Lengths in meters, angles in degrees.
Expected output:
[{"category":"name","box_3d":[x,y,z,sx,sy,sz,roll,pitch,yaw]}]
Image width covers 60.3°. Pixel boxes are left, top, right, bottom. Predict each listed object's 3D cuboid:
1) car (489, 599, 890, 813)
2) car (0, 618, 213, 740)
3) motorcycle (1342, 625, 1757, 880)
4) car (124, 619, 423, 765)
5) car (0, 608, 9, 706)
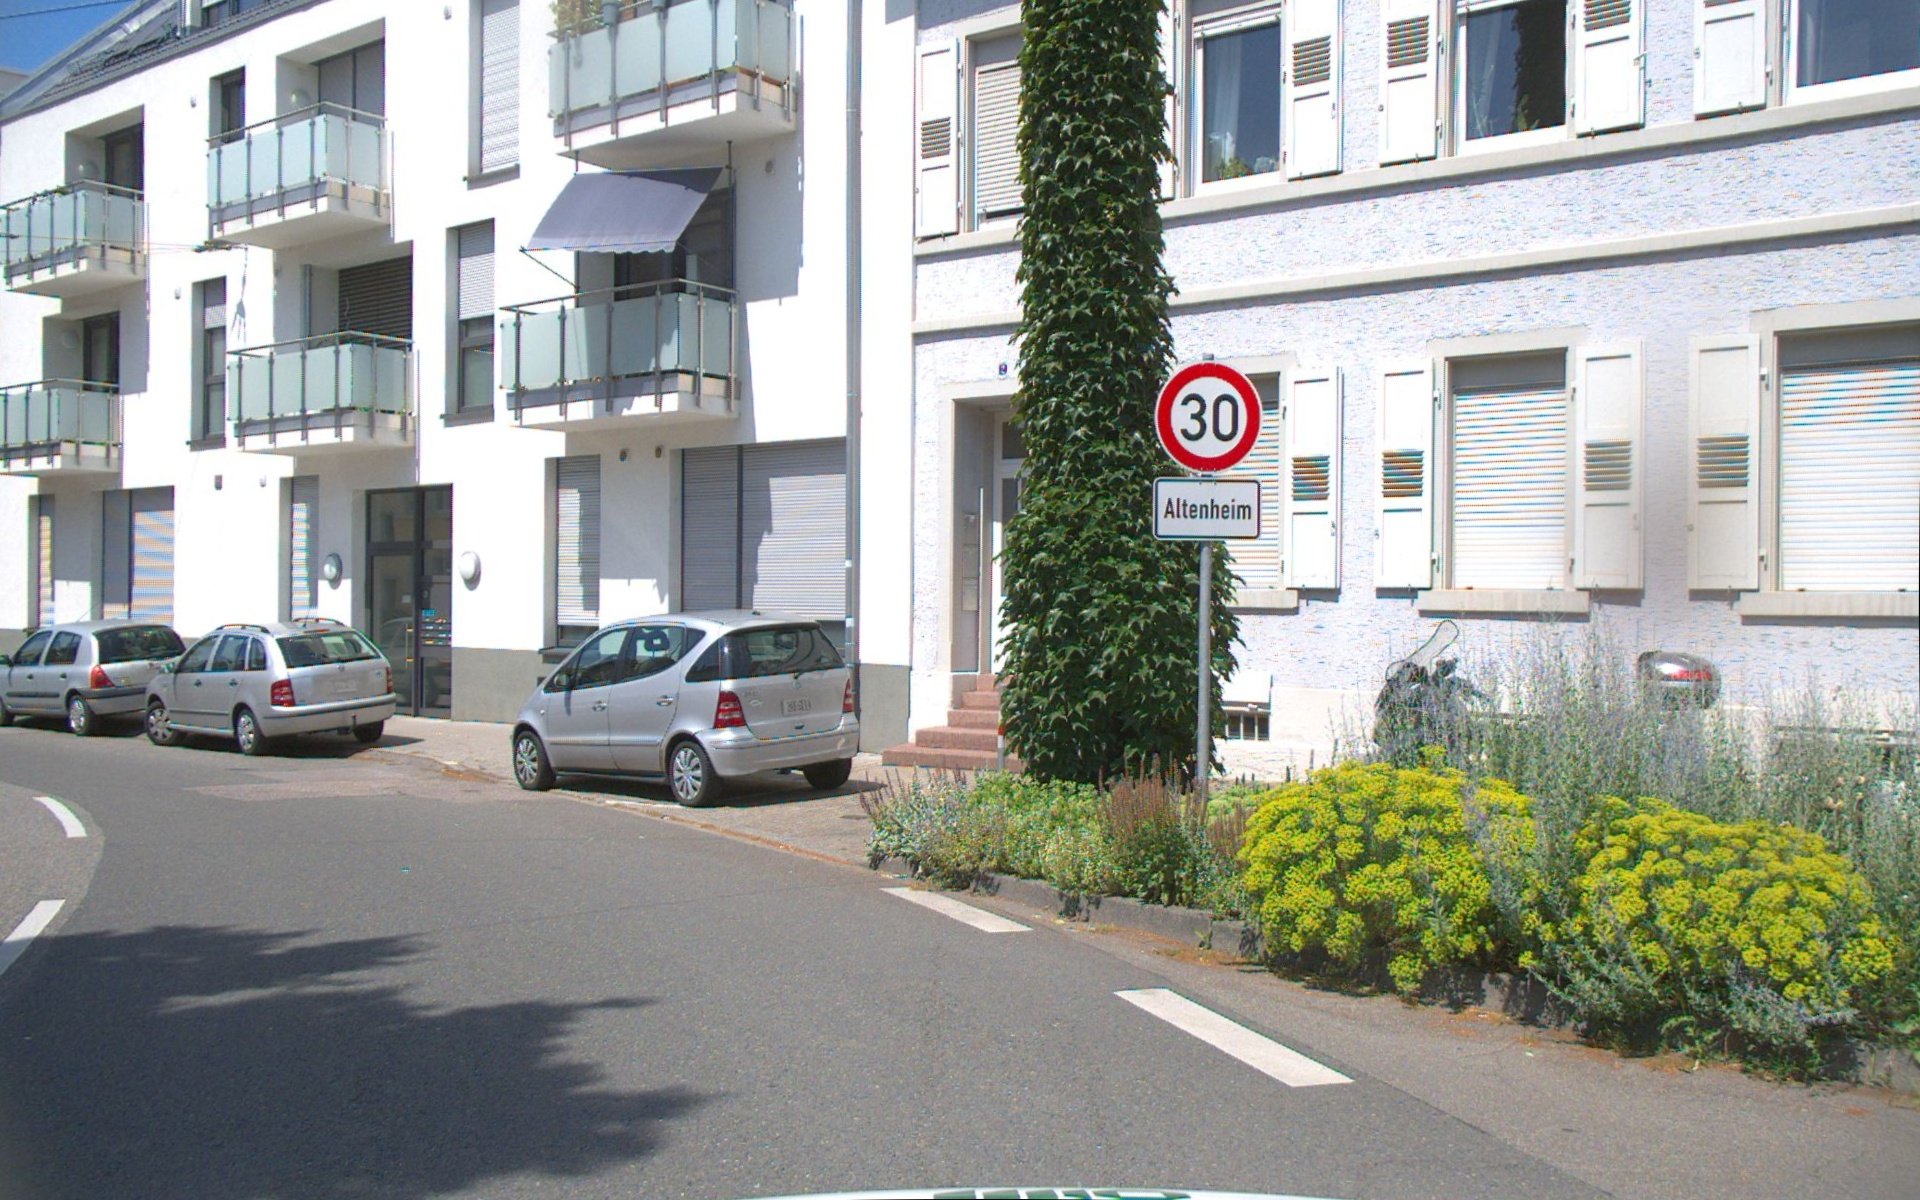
[{"category":"car","box_3d":[-2.554,0.869,15.115,3.736,1.639,1.721,-1,1,44]},{"category":"car","box_3d":[-12.072,1.033,22.873,3.634,1.457,1.592,-1,3,37]},{"category":"motorcycle","box_3d":[3.573,0.856,10.190,2.296,1.376,0.798,0,0,42]},{"category":"car","box_3d":[-8.368,1.025,20.018,3.969,1.457,1.723,0,3,41]},{"category":"car","box_3d":[-17.364,0.975,26.643,4.455,1.535,1.800,-1,3,36]}]
